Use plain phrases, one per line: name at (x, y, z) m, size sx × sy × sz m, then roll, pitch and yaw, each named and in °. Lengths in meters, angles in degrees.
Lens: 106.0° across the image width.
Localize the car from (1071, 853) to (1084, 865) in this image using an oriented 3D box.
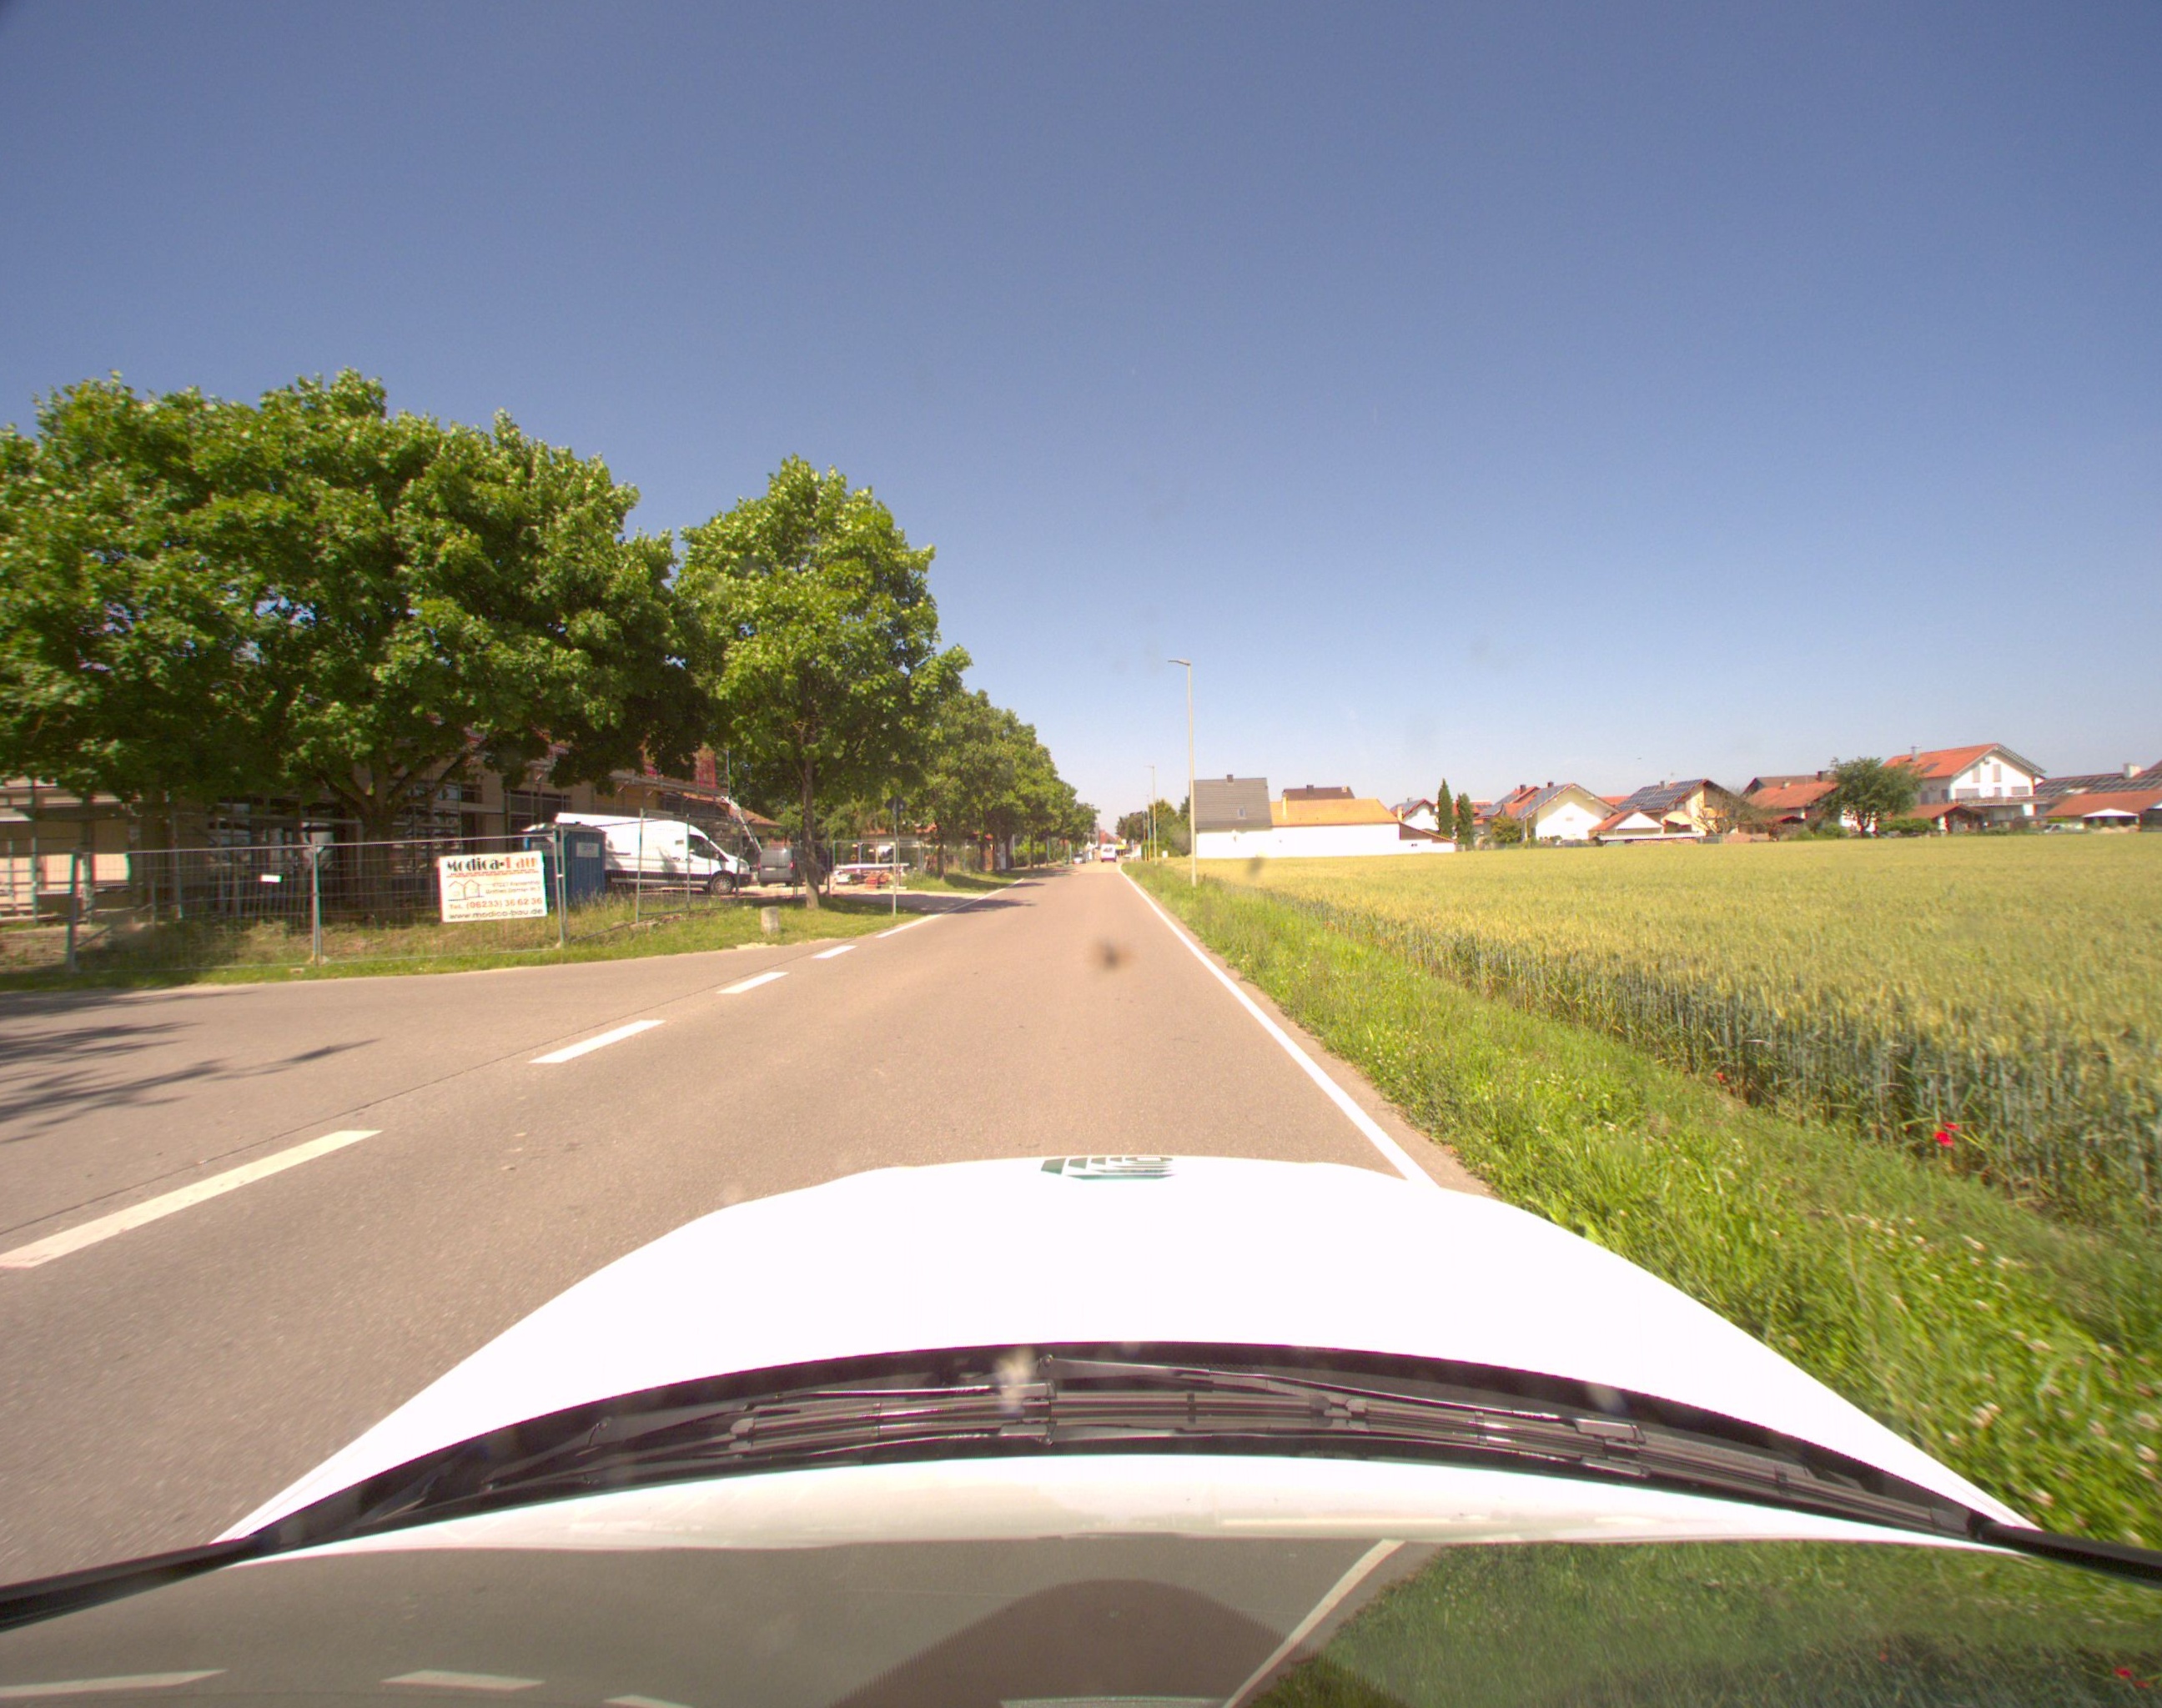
car at (-0.457, 0.662, 111.489) m, size 1.641 × 1.423 × 4.081 m, roll -4°, pitch 0°, yaw 1°

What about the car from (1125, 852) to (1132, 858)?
car at (13.613, 0.381, 232.820) m, size 1.660 × 1.524 × 3.442 m, roll -3°, pitch 0°, yaw 0°

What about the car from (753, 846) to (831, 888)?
car at (-13.407, 0.567, 38.049) m, size 1.963 × 1.838 × 4.329 m, roll -1°, pitch 0°, yaw 1°

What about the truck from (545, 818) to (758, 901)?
truck at (-13.991, 0.128, 26.772) m, size 5.958 × 2.483 × 1.978 m, roll -1°, pitch -1°, yaw -36°

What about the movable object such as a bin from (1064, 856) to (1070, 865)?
movable object such as a bin at (-1.827, 0.830, 106.732) m, size 0.570 × 1.079 × 0.601 m, roll -2°, pitch 0°, yaw 16°

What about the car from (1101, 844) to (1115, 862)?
car at (3.772, -0.127, 113.804) m, size 1.731 × 2.432 × 4.375 m, roll -2°, pitch 0°, yaw 1°
